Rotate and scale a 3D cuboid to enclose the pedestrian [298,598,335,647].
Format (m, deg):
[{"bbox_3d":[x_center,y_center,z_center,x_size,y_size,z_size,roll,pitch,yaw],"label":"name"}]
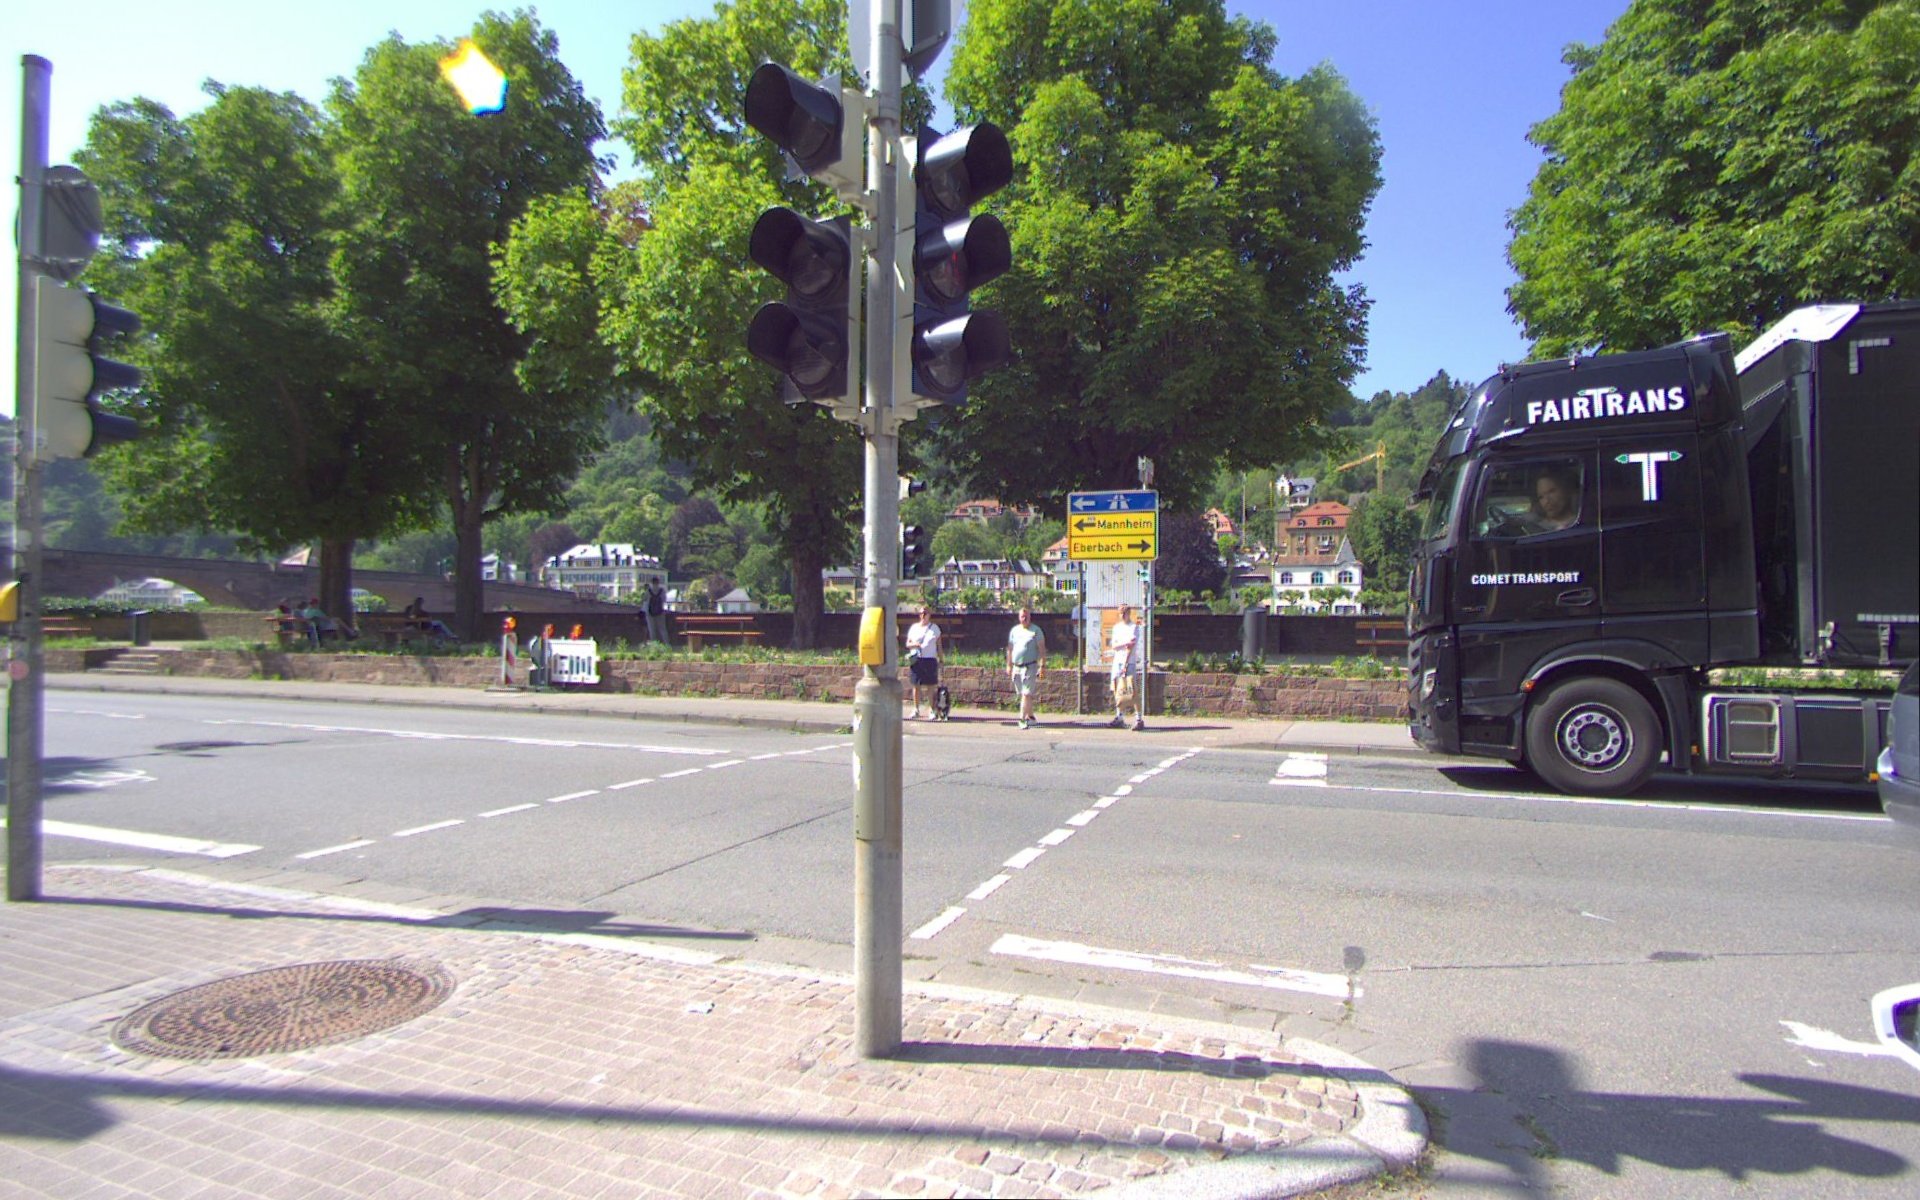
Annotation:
[{"bbox_3d":[-17.160,0.599,26.790,0.460,1.287,0.631,0,-2,25],"label":"pedestrian"}]

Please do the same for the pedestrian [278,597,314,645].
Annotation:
[{"bbox_3d":[-17.946,0.578,27.163,0.460,1.287,0.631,0,-2,25],"label":"pedestrian"}]

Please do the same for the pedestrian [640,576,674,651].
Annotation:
[{"bbox_3d":[-7.787,0.351,25.785,0.753,1.882,0.754,2,-2,-19],"label":"pedestrian"}]

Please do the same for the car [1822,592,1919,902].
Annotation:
[{"bbox_3d":[6.862,0.783,4.889,3.665,1.632,1.693,0,-1,19],"label":"car"}]

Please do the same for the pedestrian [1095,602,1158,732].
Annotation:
[{"bbox_3d":[2.415,0.959,14.573,0.695,1.825,0.576,-1,-2,43],"label":"pedestrian"}]

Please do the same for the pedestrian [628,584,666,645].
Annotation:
[{"bbox_3d":[-9.137,0.434,29.378,0.696,1.754,0.757,1,-2,17],"label":"pedestrian"}]

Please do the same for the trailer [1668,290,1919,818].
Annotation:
[{"bbox_3d":[13.511,-0.311,7.142,13.502,4.157,2.843,0,-3,21],"label":"trailer"}]

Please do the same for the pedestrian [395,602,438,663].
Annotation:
[{"bbox_3d":[-13.712,0.816,25.352,0.460,1.512,0.804,0,-2,25],"label":"pedestrian"}]

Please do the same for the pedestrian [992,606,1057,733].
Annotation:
[{"bbox_3d":[0.951,0.998,14.857,0.705,1.793,0.689,0,2,31],"label":"pedestrian"}]

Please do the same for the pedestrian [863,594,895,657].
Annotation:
[{"bbox_3d":[-1.640,0.520,20.391,0.631,1.243,0.414,-1,-4,-4],"label":"pedestrian"}]

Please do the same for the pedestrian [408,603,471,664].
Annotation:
[{"bbox_3d":[-13.121,0.845,25.354,0.460,1.499,1.384,0,-2,25],"label":"pedestrian"}]

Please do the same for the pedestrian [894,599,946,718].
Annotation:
[{"bbox_3d":[-0.624,0.905,15.851,0.621,1.825,0.724,0,-1,13],"label":"pedestrian"}]

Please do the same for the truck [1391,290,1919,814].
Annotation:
[{"bbox_3d":[7.320,-0.308,9.464,5.816,4.124,2.841,0,-3,20],"label":"truck"}]

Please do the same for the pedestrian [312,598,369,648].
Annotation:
[{"bbox_3d":[-16.541,0.624,26.848,0.460,1.287,1.223,0,-2,25],"label":"pedestrian"}]
